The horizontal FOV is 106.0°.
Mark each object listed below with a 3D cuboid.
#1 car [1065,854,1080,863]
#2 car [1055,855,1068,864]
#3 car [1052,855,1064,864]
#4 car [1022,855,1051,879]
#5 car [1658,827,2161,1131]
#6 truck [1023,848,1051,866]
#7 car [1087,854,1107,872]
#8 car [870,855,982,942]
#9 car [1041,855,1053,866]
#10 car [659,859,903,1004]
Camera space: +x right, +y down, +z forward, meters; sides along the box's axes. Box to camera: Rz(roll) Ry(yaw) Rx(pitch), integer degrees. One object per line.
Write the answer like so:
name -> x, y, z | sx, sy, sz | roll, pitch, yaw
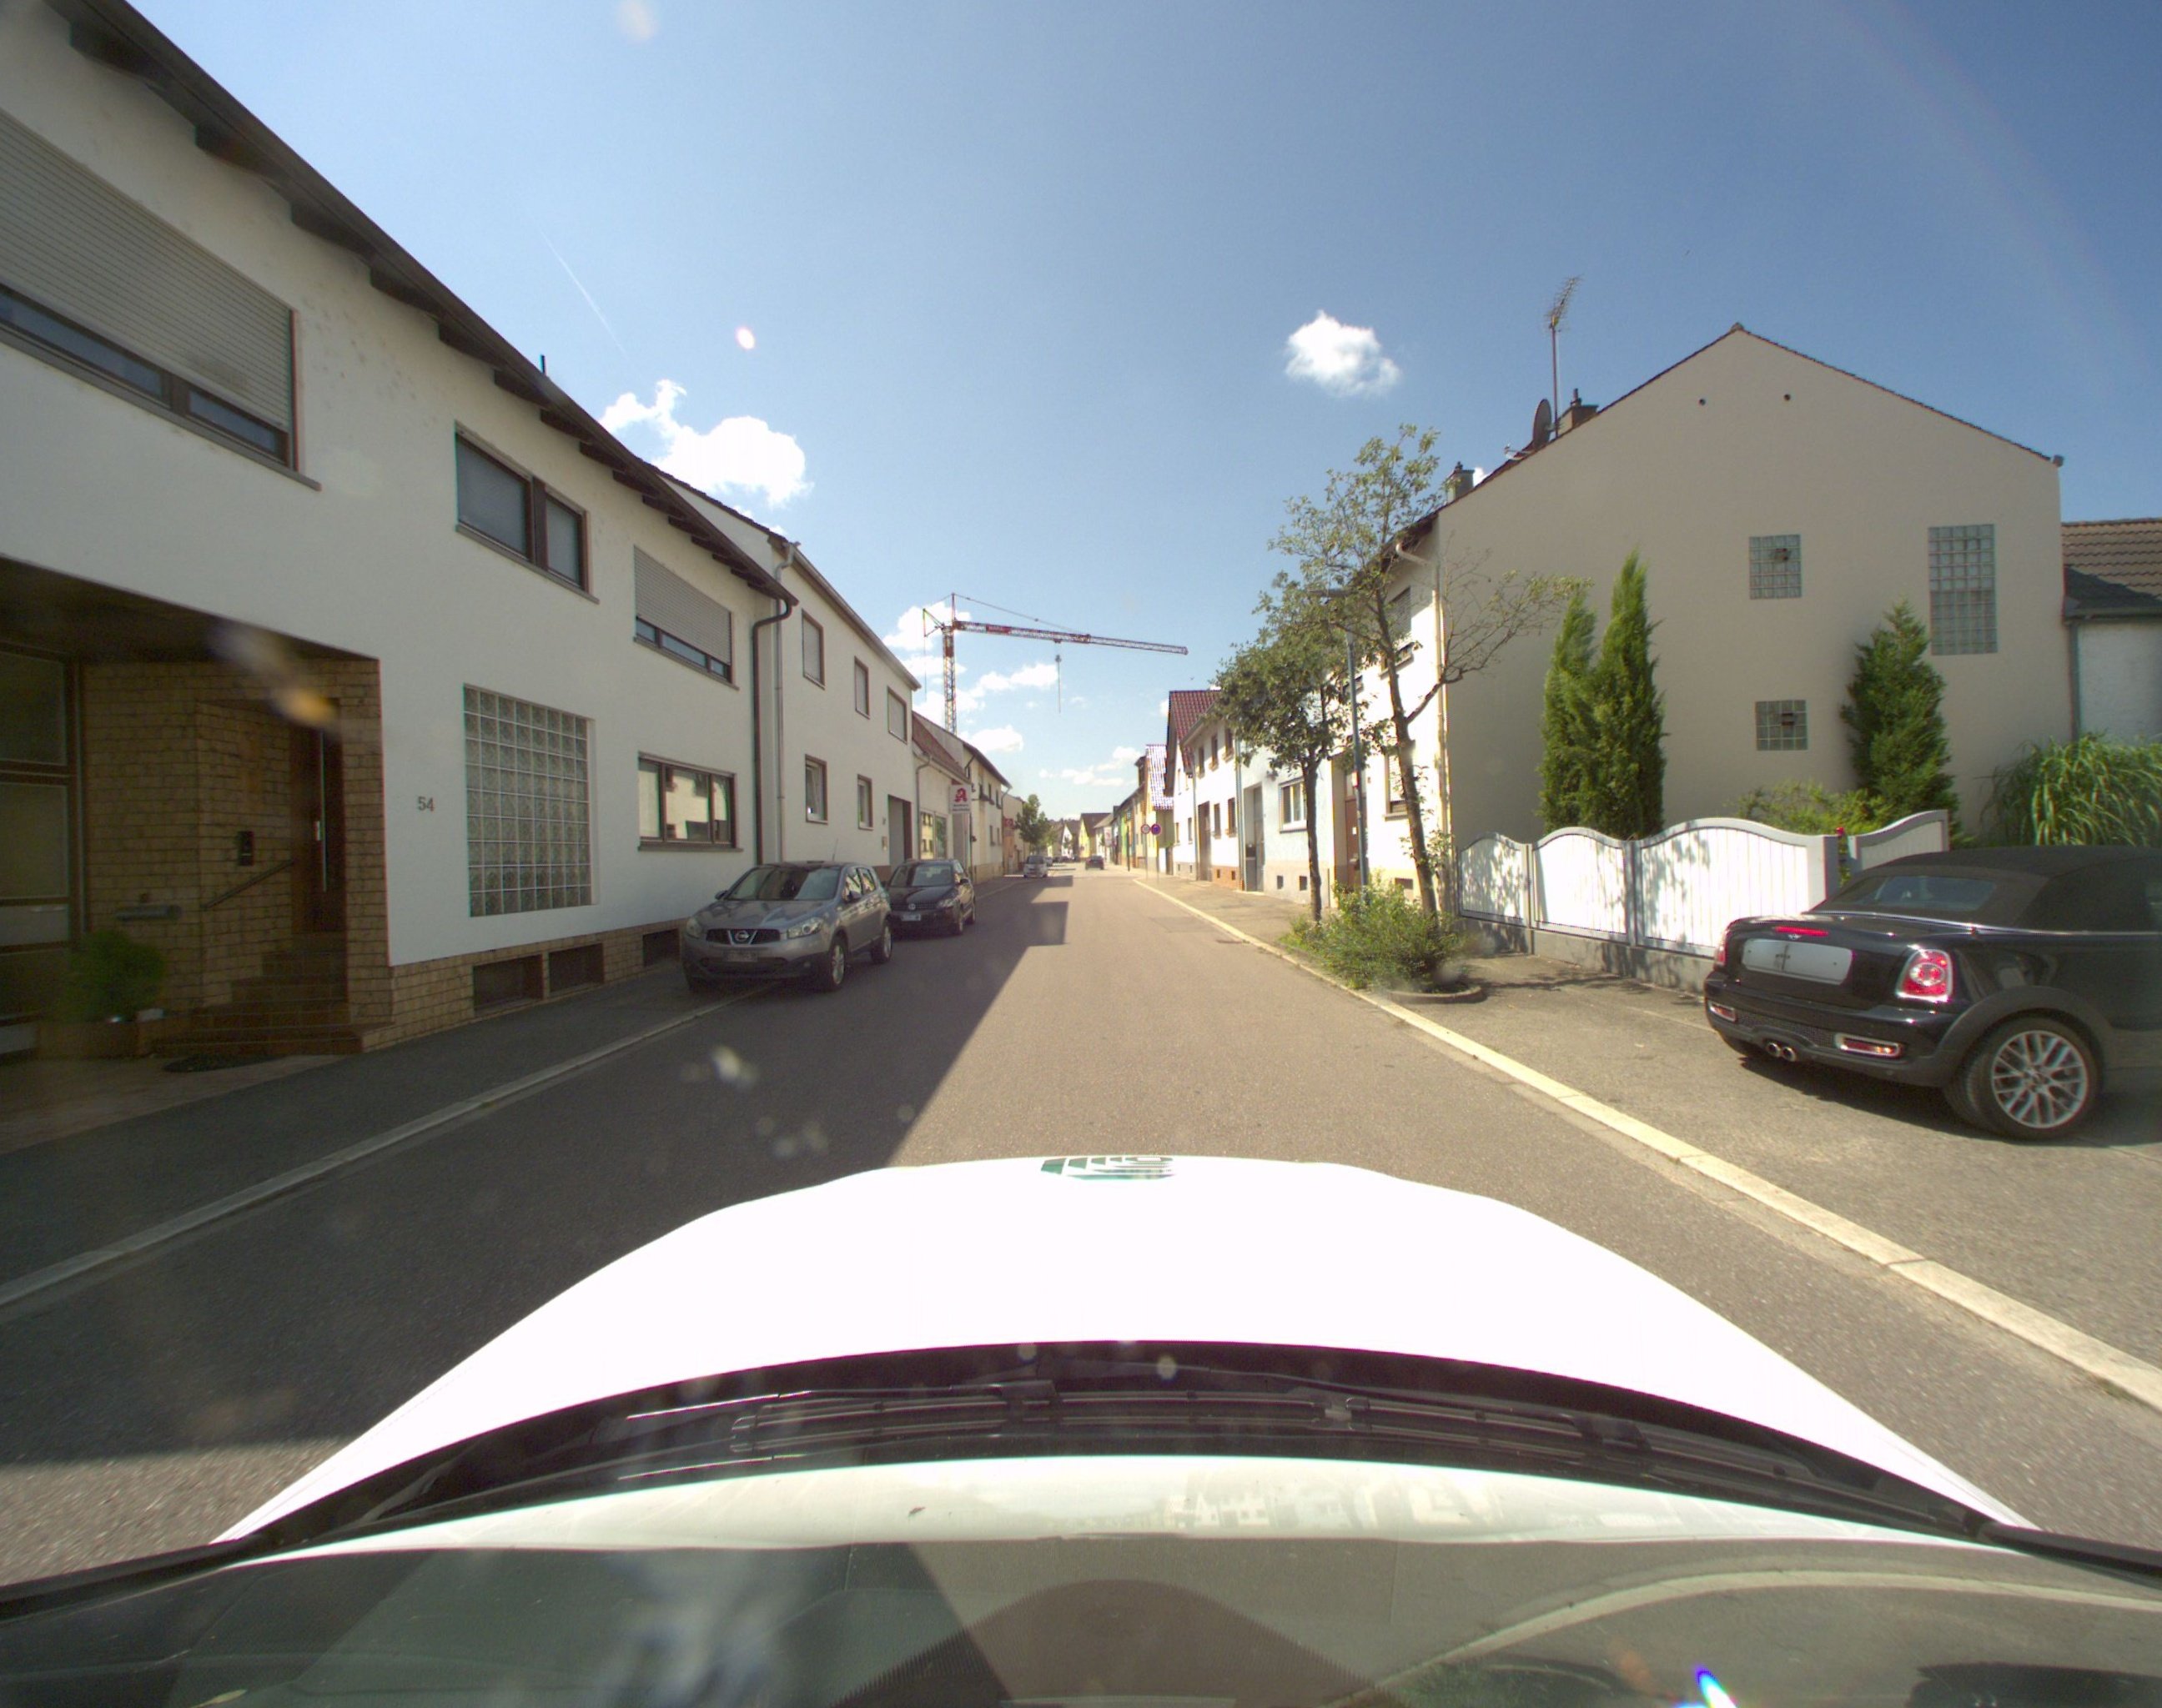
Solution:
car -> -1.774, 0.909, 164.061 | 1.787, 1.753, 4.204 | -2, 0, -17
car -> -4.227, 1.219, 173.542 | 1.825, 1.753, 4.205 | -2, 0, -16
car -> -5.110, 1.261, 181.286 | 1.823, 1.753, 4.210 | -2, 0, -13
car -> -3.062, 0.873, 56.852 | 1.717, 1.555, 4.172 | 0, 0, 1
car -> 5.995, 0.569, 4.818 | 3.909, 1.415, 1.740 | -2, 0, 0
truck -> -10.022, 0.751, 183.681 | 3.386, 3.865, 13.849 | -2, 0, -16
car -> 1.605, 0.903, 83.386 | 1.778, 1.753, 3.998 | -2, 0, -1
car -> -3.249, 0.864, 17.770 | 1.648, 1.609, 4.059 | -2, 0, -1
car -> -5.270, 1.004, 126.059 | 1.731, 1.687, 4.226 | 0, 0, -4
car -> -3.809, 0.879, 11.216 | 1.753, 1.525, 4.287 | -2, 0, -1
